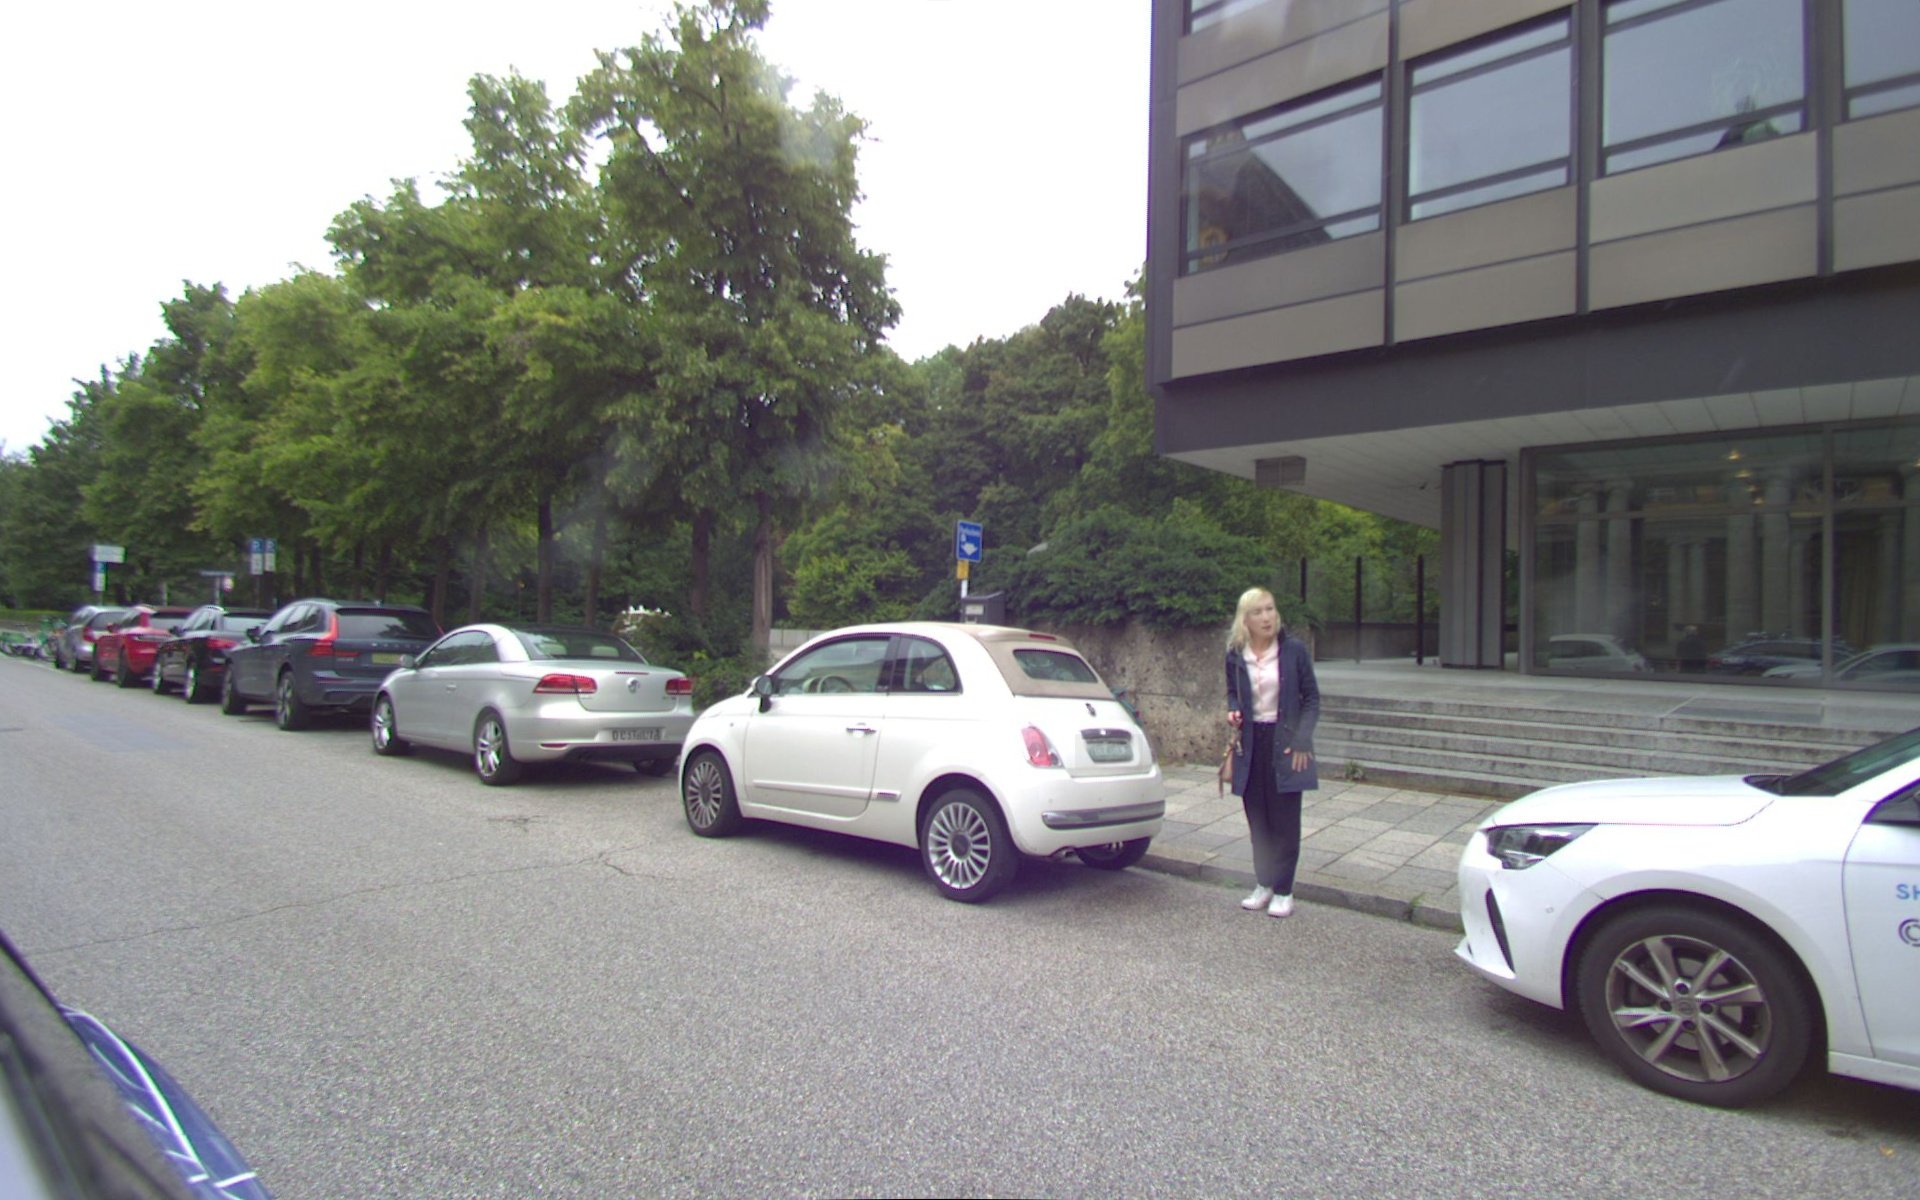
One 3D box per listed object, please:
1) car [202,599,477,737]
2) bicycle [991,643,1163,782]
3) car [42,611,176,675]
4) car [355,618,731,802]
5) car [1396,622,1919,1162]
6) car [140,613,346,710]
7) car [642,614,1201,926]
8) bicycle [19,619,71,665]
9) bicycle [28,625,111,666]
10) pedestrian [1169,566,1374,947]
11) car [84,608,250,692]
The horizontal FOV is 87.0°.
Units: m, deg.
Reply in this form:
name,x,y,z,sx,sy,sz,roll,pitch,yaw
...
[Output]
name,x,y,z,sx,sy,sz,roll,pitch,yaw
car,-8.681,0.836,13.994,4.520,1.595,1.972,-1,-2,41
bicycle,1.098,1.024,9.671,1.526,1.173,0.636,-1,0,40
car,-21.324,1.036,25.293,4.363,1.472,1.972,-1,-3,43
car,-4.230,0.943,9.937,4.217,1.411,1.739,-1,-5,43
car,3.744,0.858,2.897,4.278,1.451,1.663,0,-4,42
car,-12.574,0.985,17.632,4.646,1.472,1.972,-1,-3,43
car,-0.405,0.869,6.611,3.551,1.482,1.527,-1,-4,41
bicycle,-26.641,1.200,29.495,0.566,1.292,1.423,0,0,-16
bicycle,-25.270,1.276,28.744,0.597,1.116,1.681,0,-1,33
pedestrian,1.638,0.754,5.280,0.690,1.765,0.880,-2,-5,44
car,-16.401,0.981,20.849,4.363,1.555,1.972,-1,-3,43
